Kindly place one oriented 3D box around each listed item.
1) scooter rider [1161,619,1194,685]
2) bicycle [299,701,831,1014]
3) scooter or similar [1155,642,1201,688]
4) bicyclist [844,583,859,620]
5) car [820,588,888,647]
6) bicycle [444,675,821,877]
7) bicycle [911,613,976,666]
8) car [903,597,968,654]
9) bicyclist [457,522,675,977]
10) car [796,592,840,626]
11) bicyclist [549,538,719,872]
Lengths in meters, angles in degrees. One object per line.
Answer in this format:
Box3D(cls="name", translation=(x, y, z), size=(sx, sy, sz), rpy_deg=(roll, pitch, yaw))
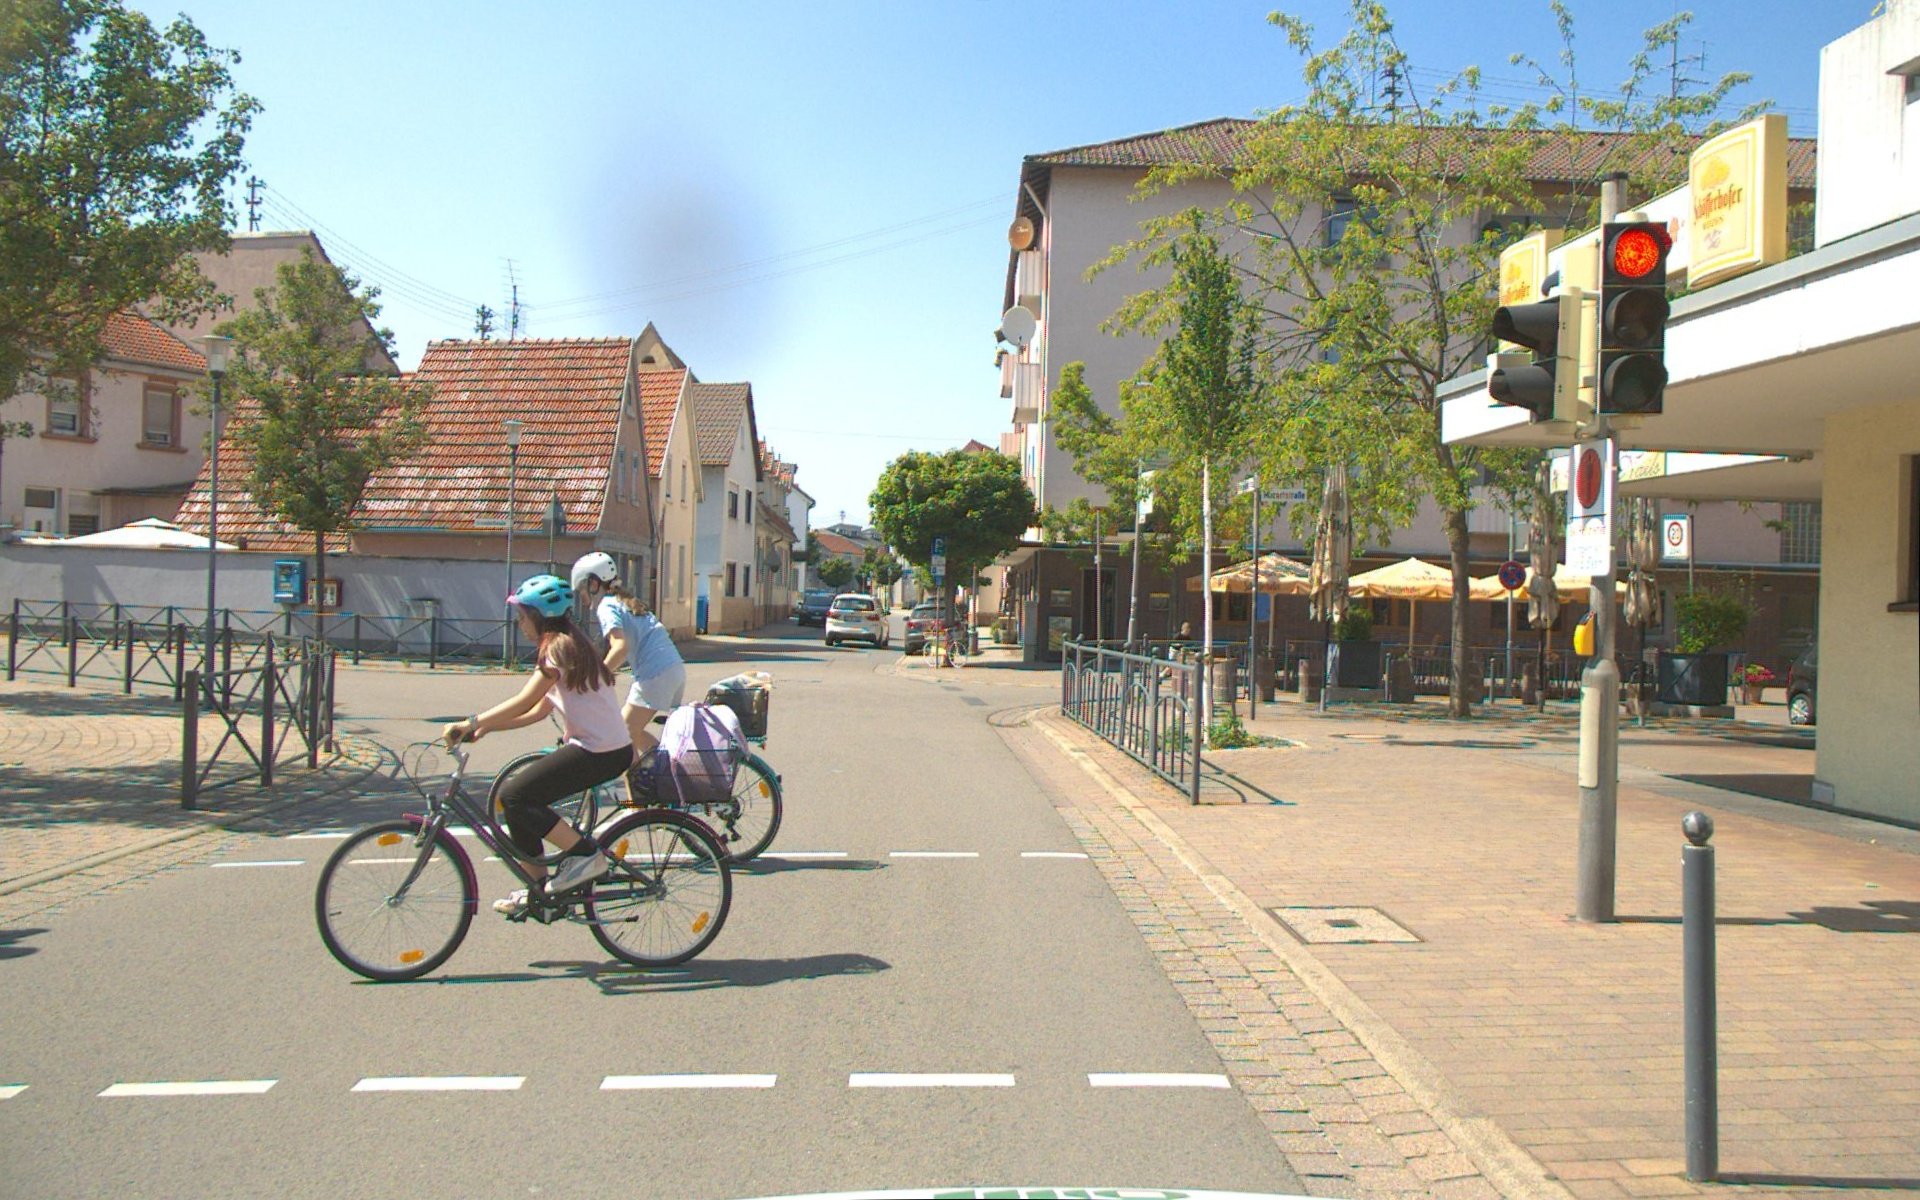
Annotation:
Box3D(cls="scooter rider", translation=(4.368, 1.034, 33.246), size=(0.513, 1.308, 0.412), rpy_deg=(2, 0, -41))
Box3D(cls="bicycle", translation=(-1.474, 0.923, 6.295), size=(1.860, 0.974, 0.673), rpy_deg=(-1, 1, -17))
Box3D(cls="scooter or similar", translation=(4.378, 1.296, 33.220), size=(0.376, 0.889, 0.877), rpy_deg=(2, 0, -41))
Box3D(cls="bicyclist", translation=(-5.095, 0.054, 77.544), size=(0.655, 1.720, 0.761), rpy_deg=(0, 0, -1))
Box3D(cls="car", translation=(-3.322, 0.517, 52.550), size=(1.796, 1.680, 4.001), rpy_deg=(3, 1, 1))
Box3D(cls="bicycle", translation=(-1.697, 0.911, 8.765), size=(1.851, 0.974, 0.676), rpy_deg=(-1, 0, 0))
Box3D(cls="bicycle", translation=(-0.399, 0.932, 39.418), size=(0.523, 1.214, 1.648), rpy_deg=(2, 0, -44))
Box3D(cls="car", translation=(-0.685, 0.715, 48.187), size=(1.768, 1.527, 4.000), rpy_deg=(1, 0, 0))
Box3D(cls="bicyclist", translation=(-1.507, 0.522, 6.293), size=(0.747, 1.609, 0.668), rpy_deg=(-1, 1, -17))
Box3D(cls="car", translation=(-6.738, 0.410, 78.744), size=(1.679, 1.543, 3.786), rpy_deg=(1, 0, 0))
Box3D(cls="bicyclist", translation=(-1.709, 0.533, 8.769), size=(0.743, 1.693, 0.671), rpy_deg=(0, 0, 1))
